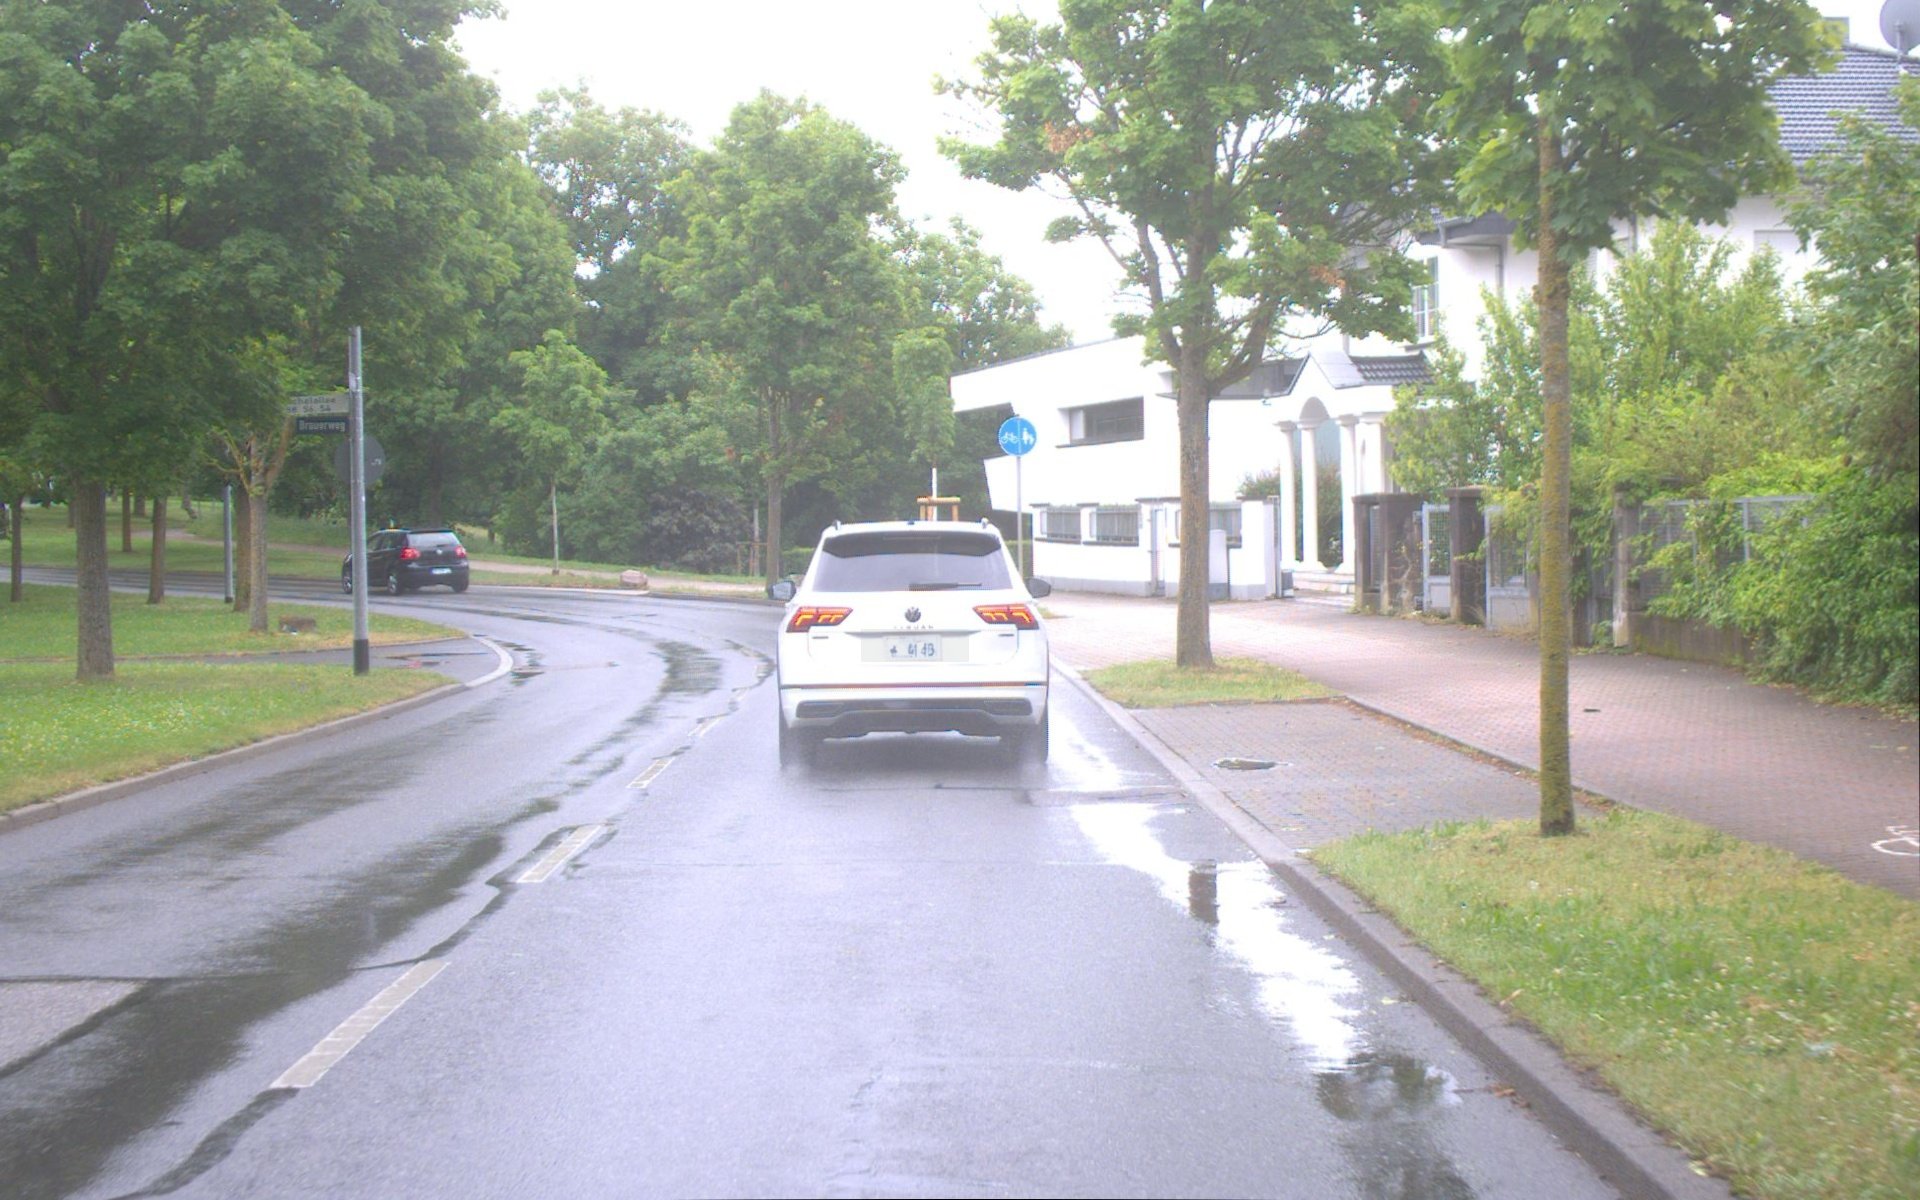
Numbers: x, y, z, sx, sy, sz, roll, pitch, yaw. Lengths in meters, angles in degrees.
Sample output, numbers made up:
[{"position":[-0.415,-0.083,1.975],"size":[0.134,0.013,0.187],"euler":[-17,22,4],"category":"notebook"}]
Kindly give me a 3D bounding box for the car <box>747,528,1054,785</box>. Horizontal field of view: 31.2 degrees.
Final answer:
[{"position":[-0.386,0.320,24.284],"size":[1.974,1.647,4.177],"euler":[0,1,0],"category":"car"}]

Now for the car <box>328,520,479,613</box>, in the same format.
[{"position":[-12.506,-0.770,77.125],"size":[1.901,2.007,3.944],"euler":[1,1,-32],"category":"car"}]

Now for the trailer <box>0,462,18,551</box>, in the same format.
[{"position":[-32.496,-2.988,111.555],"size":[1.994,2.798,5.609],"euler":[-8,6,-31],"category":"trailer"}]
